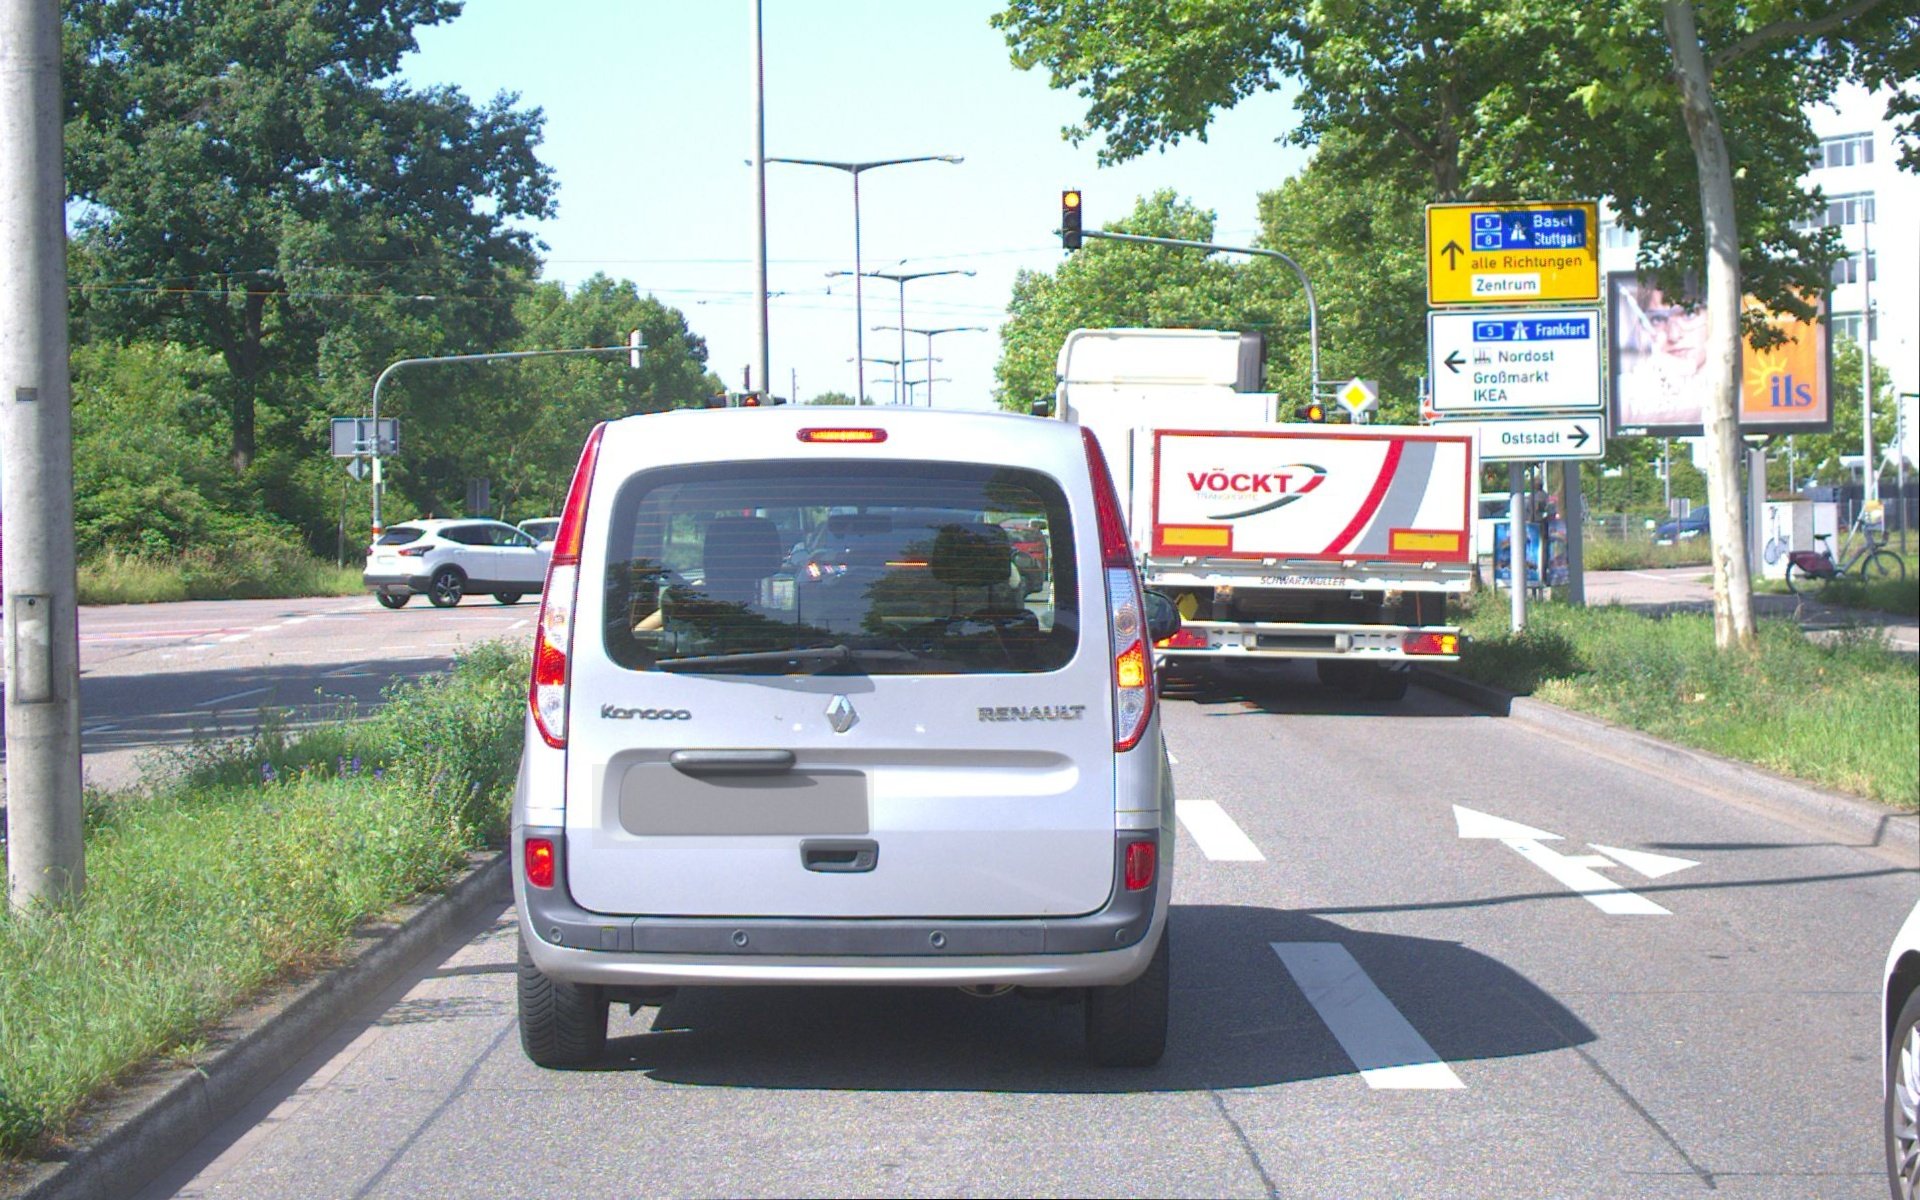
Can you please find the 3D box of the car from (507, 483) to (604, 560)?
[{"bbox_3d":[-10.603,-2.065,90.396,1.993,1.884,4.988,-3,1,-1],"label":"car"}]

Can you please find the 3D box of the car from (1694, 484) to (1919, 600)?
[{"bbox_3d":[12.861,-0.846,50.194,3.988,1.656,1.723,0,1,5],"label":"car"}]

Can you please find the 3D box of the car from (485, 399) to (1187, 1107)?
[{"bbox_3d":[-0.342,0.345,10.572,1.749,1.766,3.950,0,1,-1],"label":"car"}]

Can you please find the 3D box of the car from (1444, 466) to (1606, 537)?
[{"bbox_3d":[16.226,-2.820,98.825,4.525,2.007,1.999,0,1,9],"label":"car"}]

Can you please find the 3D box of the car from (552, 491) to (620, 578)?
[{"bbox_3d":[-11.669,-2.045,107.078,2.058,2.605,5.871,0,1,-6],"label":"car"}]

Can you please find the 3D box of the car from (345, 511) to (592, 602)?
[{"bbox_3d":[-9.028,-0.821,63.287,4.104,1.621,1.999,-1,2,-43],"label":"car"}]

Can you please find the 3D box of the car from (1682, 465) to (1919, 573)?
[{"bbox_3d":[13.443,-1.269,53.840,3.988,1.656,1.723,0,1,5],"label":"car"}]

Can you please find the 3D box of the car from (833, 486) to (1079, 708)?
[{"bbox_3d":[-0.103,-0.063,28.066,1.809,1.678,4.001,0,1,-3],"label":"car"}]

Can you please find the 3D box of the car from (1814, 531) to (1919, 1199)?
[{"bbox_3d":[2.679,0.606,5.750,1.661,1.431,3.520,0,1,1],"label":"car"}]

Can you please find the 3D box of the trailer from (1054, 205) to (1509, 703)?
[{"bbox_3d":[2.581,-1.223,31.963,3.016,3.728,12.241,0,1,0],"label":"trailer"}]

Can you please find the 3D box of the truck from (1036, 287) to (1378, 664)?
[{"bbox_3d":[2.549,-1.321,38.081,3.071,3.745,7.477,0,1,-1],"label":"truck"}]

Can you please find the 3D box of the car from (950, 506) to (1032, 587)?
[{"bbox_3d":[0.769,-1.385,87.654,1.993,2.007,4.000,0,1,0],"label":"car"}]

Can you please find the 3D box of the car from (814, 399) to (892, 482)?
[{"bbox_3d":[-2.769,-4.050,87.922,1.713,2.007,4.001,0,1,-6],"label":"car"}]
